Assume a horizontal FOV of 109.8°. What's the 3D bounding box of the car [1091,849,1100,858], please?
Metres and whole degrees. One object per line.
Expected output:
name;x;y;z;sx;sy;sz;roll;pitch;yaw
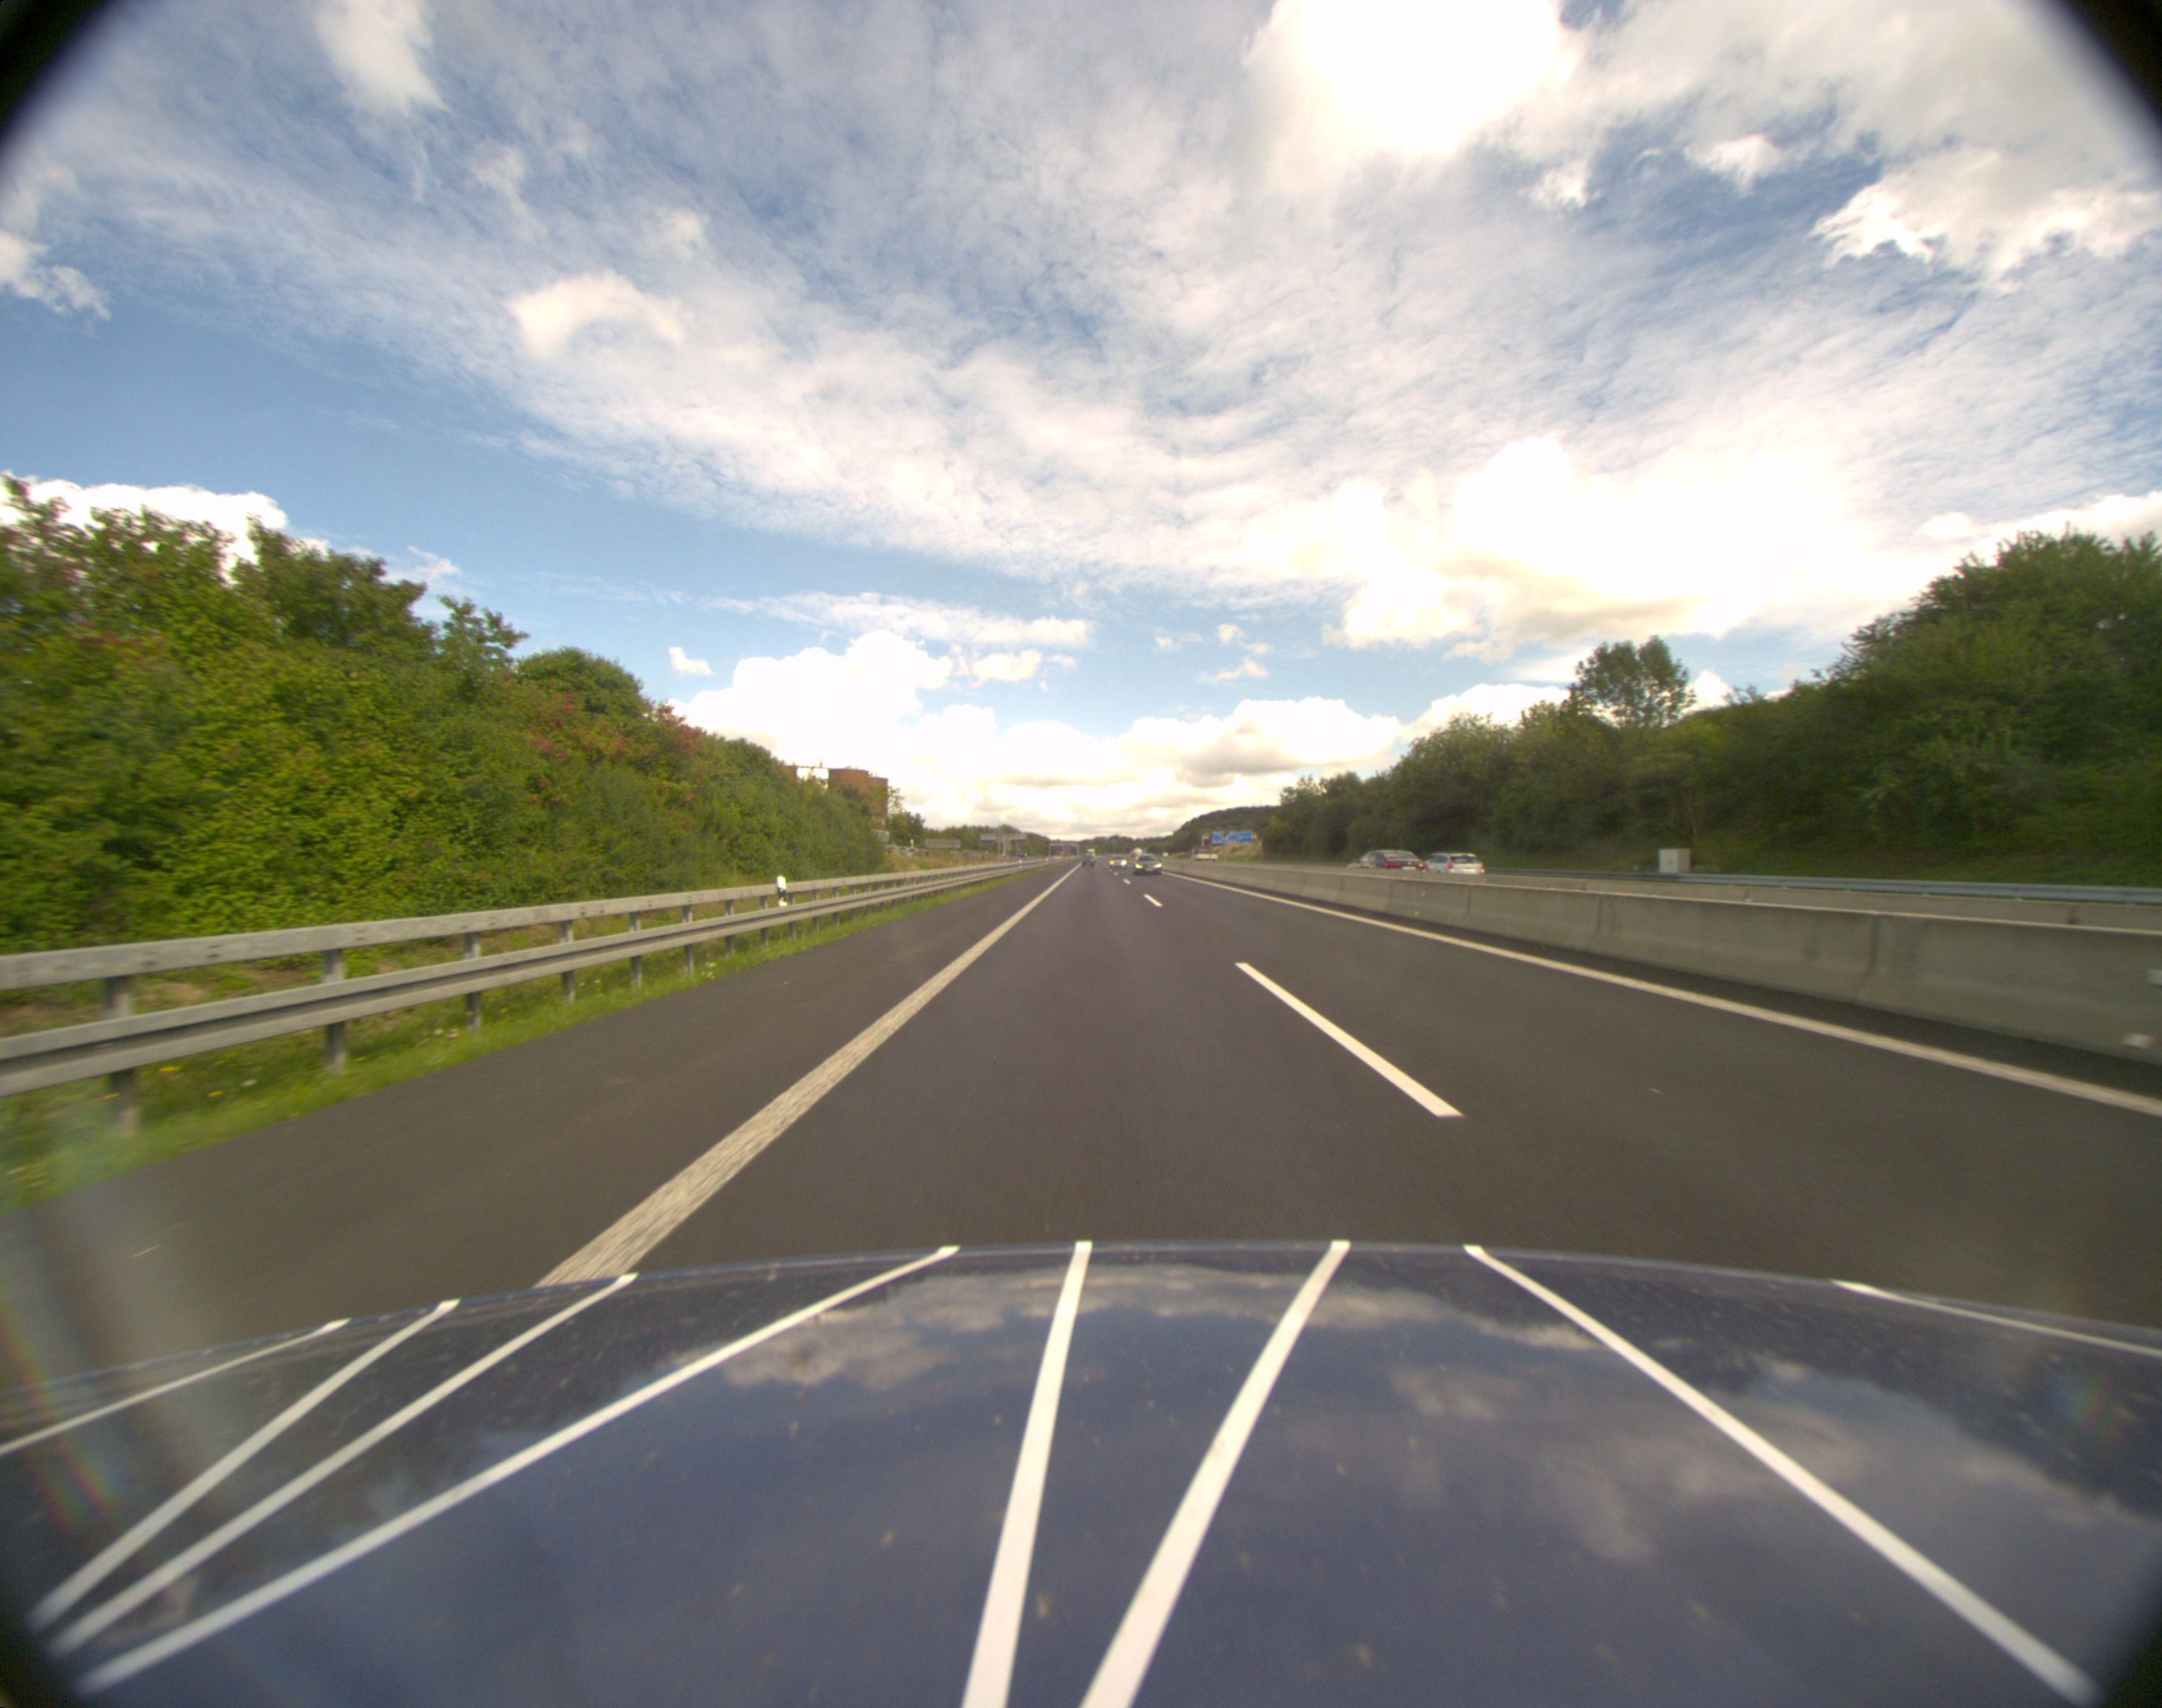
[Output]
car;2.805;-0.181;146.216;1.670;1.722;4.207;-1;1;1

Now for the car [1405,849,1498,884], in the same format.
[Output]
car;16.694;0.514;34.530;1.998;1.428;4.724;0;1;1

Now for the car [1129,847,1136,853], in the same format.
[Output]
car;15.289;-1.304;226.666;1.998;1.707;4.000;0;1;1

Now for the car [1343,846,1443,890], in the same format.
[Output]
car;12.644;0.508;31.187;1.998;1.638;5.195;0;1;1

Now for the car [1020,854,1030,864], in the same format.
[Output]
car;-13.186;1.238;180.111;1.998;2.173;5.127;-1;1;0

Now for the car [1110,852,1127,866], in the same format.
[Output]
car;4.008;0.501;81.084;1.724;1.406;3.939;-1;0;3

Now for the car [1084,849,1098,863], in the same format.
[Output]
car;1.311;0.184;96.894;1.670;1.722;4.207;-1;1;3

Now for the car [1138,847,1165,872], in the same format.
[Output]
car;5.091;0.370;55.037;1.724;1.722;3.939;-1;1;3

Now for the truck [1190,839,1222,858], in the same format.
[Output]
truck;13.601;-0.588;83.317;2.382;2.002;7.436;0;1;1
